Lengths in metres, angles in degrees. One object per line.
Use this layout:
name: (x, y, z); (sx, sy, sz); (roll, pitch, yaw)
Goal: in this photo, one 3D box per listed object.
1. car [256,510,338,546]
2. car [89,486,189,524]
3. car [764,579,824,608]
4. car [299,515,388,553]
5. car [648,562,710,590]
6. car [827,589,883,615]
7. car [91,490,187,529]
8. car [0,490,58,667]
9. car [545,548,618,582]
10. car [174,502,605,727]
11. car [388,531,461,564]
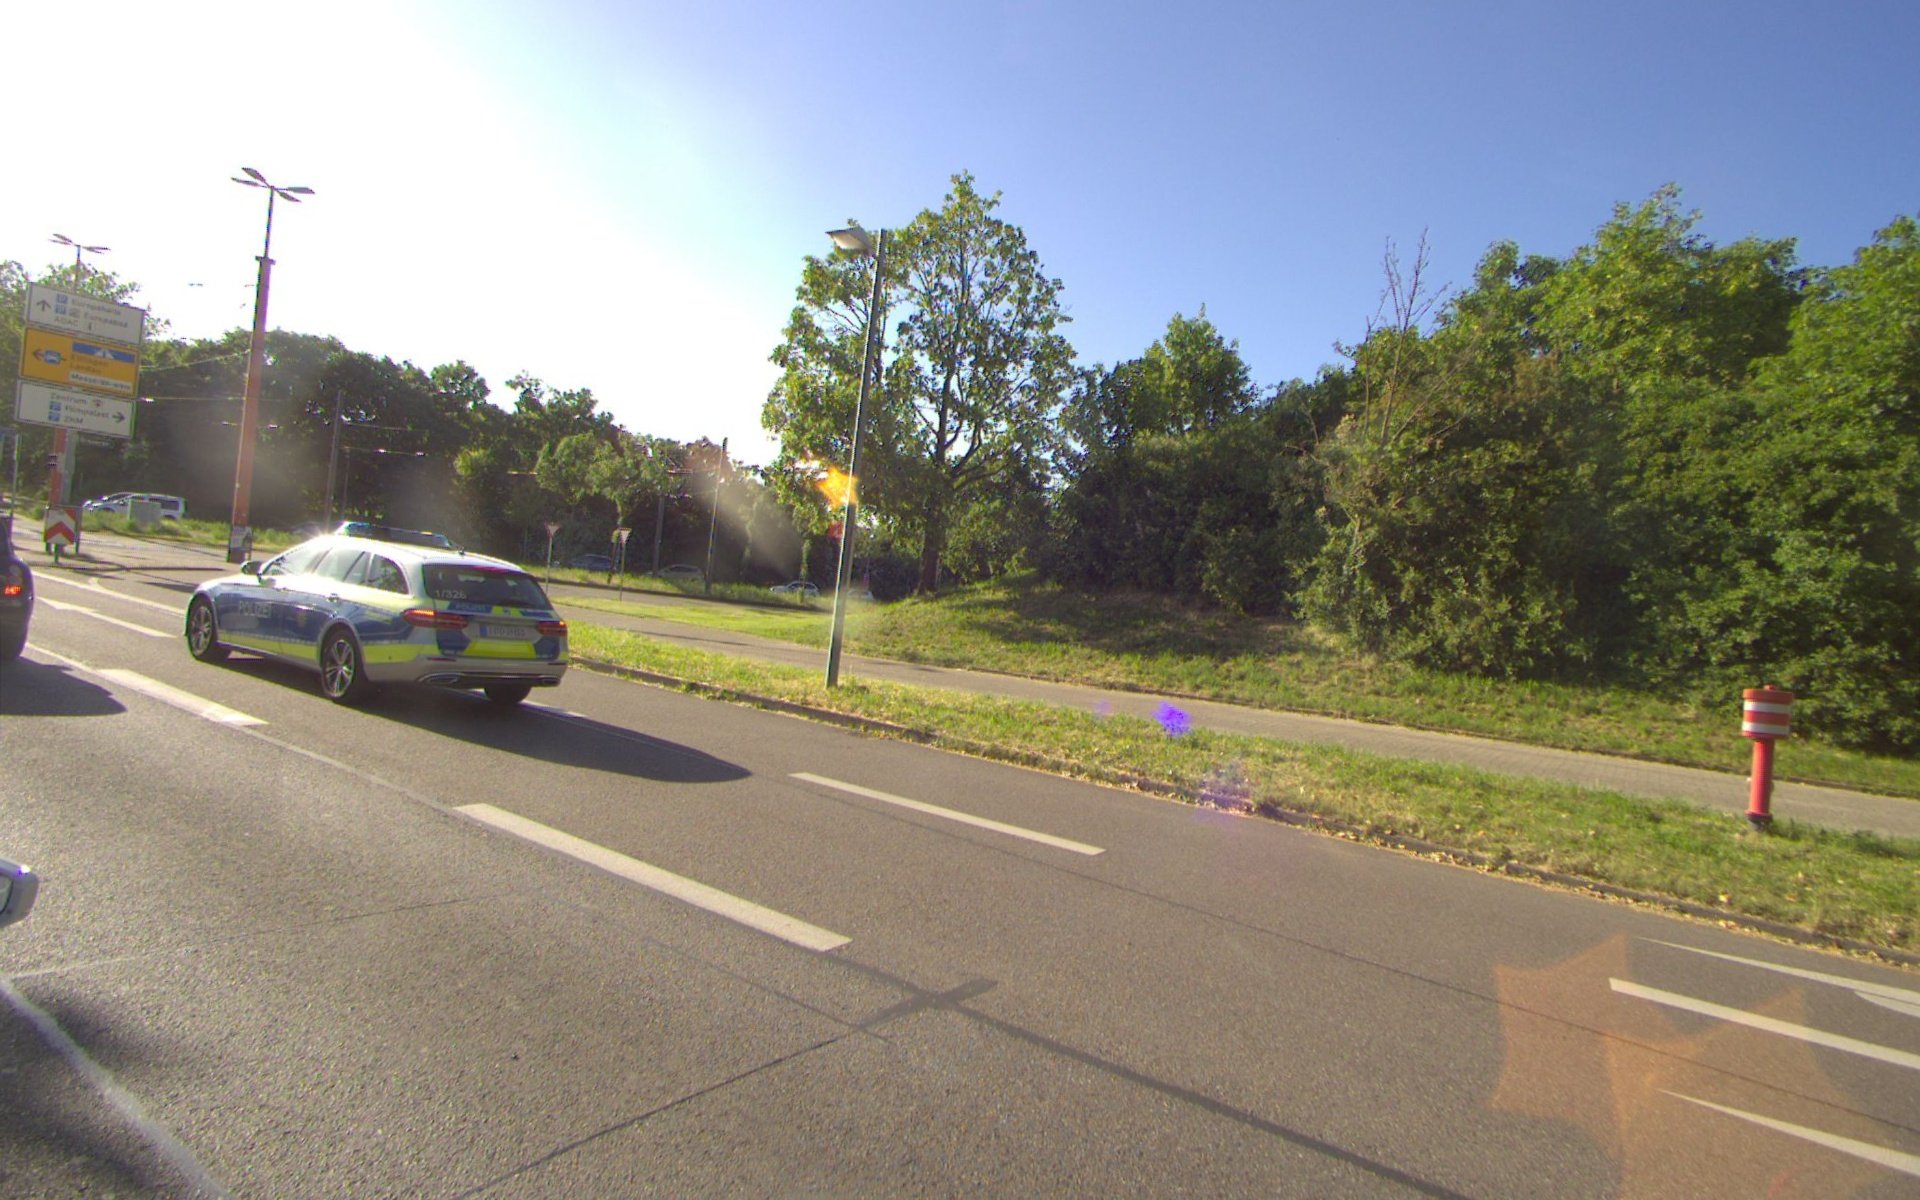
car: (-40.527, -4.386, 61.602); (3.959, 1.579, 1.884); (8, -1, -31)
car: (-45.089, -5.168, 55.347); (3.960, 1.353, 1.715); (8, -1, -32)
car: (-12.435, -0.500, 75.434); (3.957, 1.600, 1.858); (8, -1, -30)
car: (-36.878, -3.948, 60.258); (4.323, 1.577, 1.856); (8, -1, -33)
car: (-20.771, -1.755, 74.417); (3.958, 1.546, 1.845); (8, -1, -31)
car: (-8.450, 0.151, 81.165); (3.955, 1.503, 1.877); (8, -1, -29)
car: (-47.159, -5.182, 57.885); (3.960, 1.493, 1.774); (8, -1, -32)
car: (-9.983, -0.401, 9.150); (3.445, 1.512, 1.641); (7, -1, 32)
car: (-25.442, -2.336, 67.662); (4.230, 1.646, 1.914); (8, -1, -31)
car: (-5.973, 0.073, 10.390); (4.427, 1.653, 1.895); (7, 0, 32)
car: (-34.685, -3.380, 65.153); (3.959, 1.513, 1.846); (8, -1, -31)
